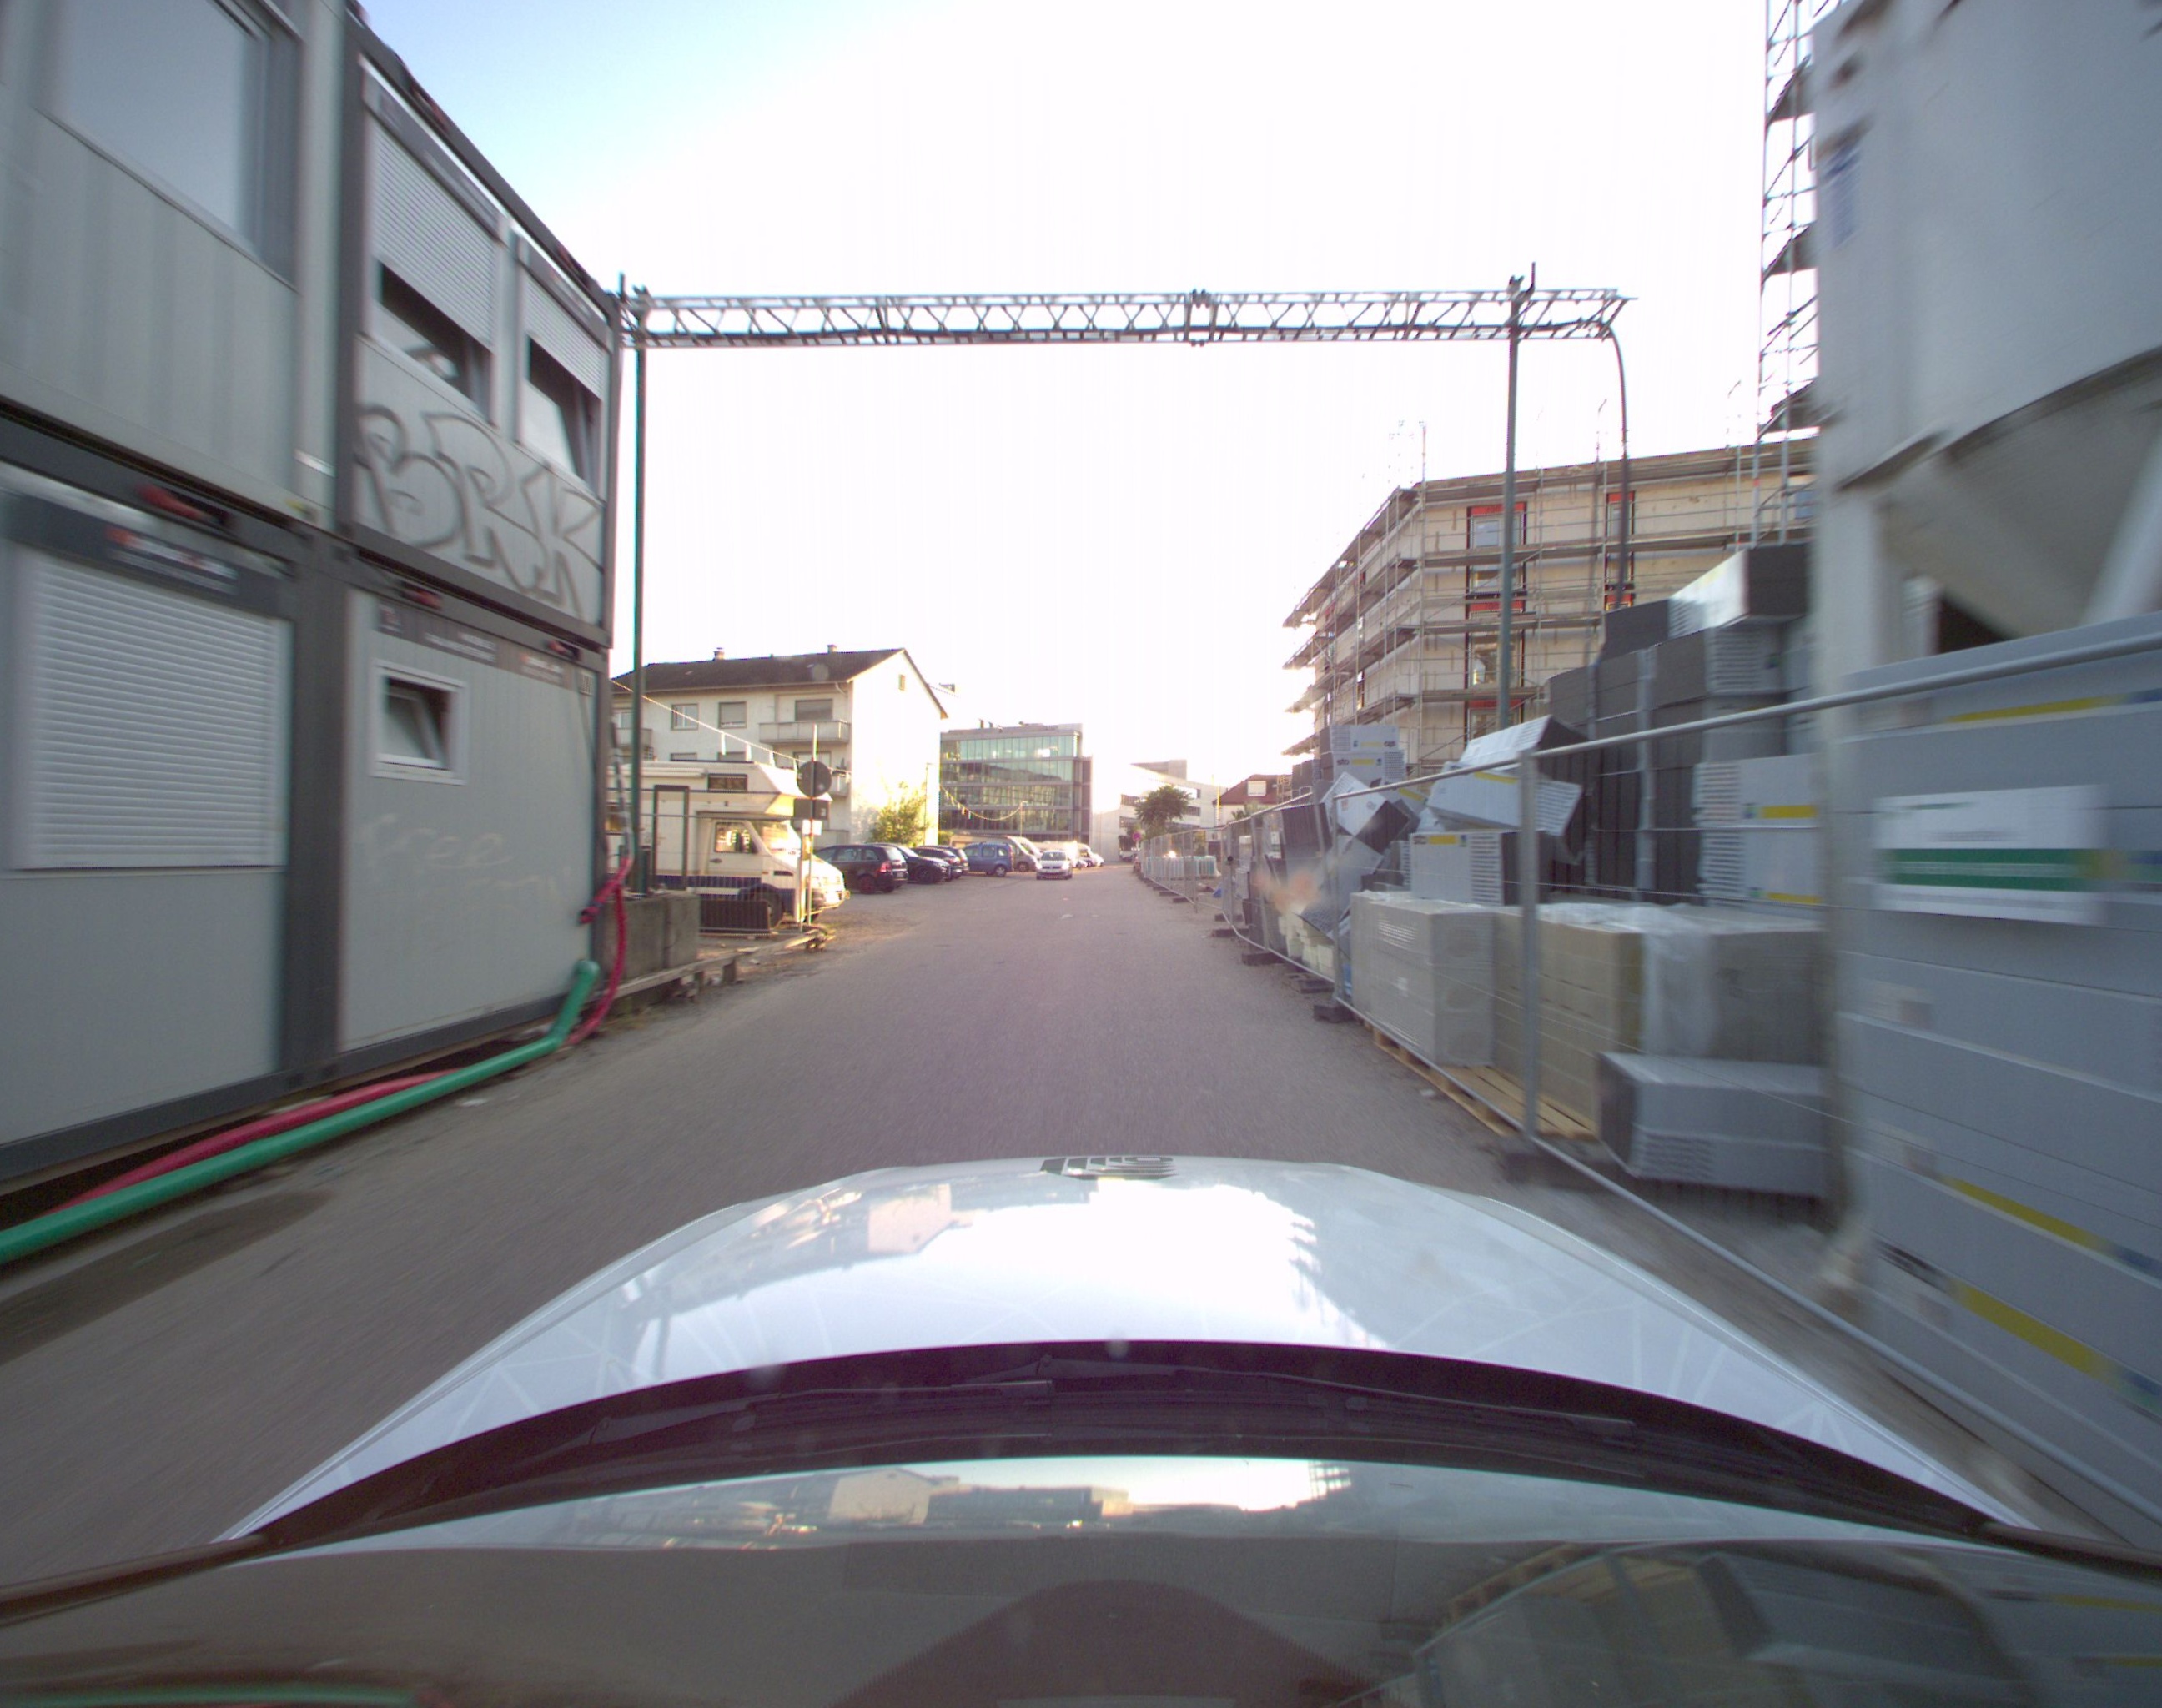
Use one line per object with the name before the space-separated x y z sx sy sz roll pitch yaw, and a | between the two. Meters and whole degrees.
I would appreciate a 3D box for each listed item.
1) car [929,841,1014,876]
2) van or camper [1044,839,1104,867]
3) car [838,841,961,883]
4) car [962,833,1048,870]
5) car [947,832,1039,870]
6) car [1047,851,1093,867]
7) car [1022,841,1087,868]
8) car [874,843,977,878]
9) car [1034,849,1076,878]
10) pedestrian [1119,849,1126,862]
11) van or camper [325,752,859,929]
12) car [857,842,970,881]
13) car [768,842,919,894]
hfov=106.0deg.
car | -5.950 0.233 44.770 4.495 1.868 1.997 0 0 -5
van or camper | -0.779 -0.134 91.521 6.288 2.979 2.301 1 0 13
car | -7.450 0.299 33.568 4.476 1.648 2.006 0 0 10
car | -5.796 -0.197 62.481 6.304 2.741 2.001 0 0 1
car | -6.294 -0.243 58.638 6.304 2.651 2.001 0 0 1
car | -1.129 0.540 85.844 4.476 1.648 2.006 0 0 10
car | -2.509 0.032 77.718 5.884 2.490 2.007 0 0 12
car | -7.518 0.299 39.678 4.476 1.648 2.006 0 0 10
car | -1.381 0.498 44.525 1.655 1.529 3.918 0 0 7
pedestrian | 6.124 0.223 120.069 0.756 1.816 0.850 0 0 25
van or camper | -8.999 -0.259 15.599 8.729 3.049 2.597 0 0 3
car | -7.419 0.308 36.300 4.476 1.648 2.006 0 0 10
car | -8.018 0.438 27.696 4.476 1.648 2.006 0 0 10
